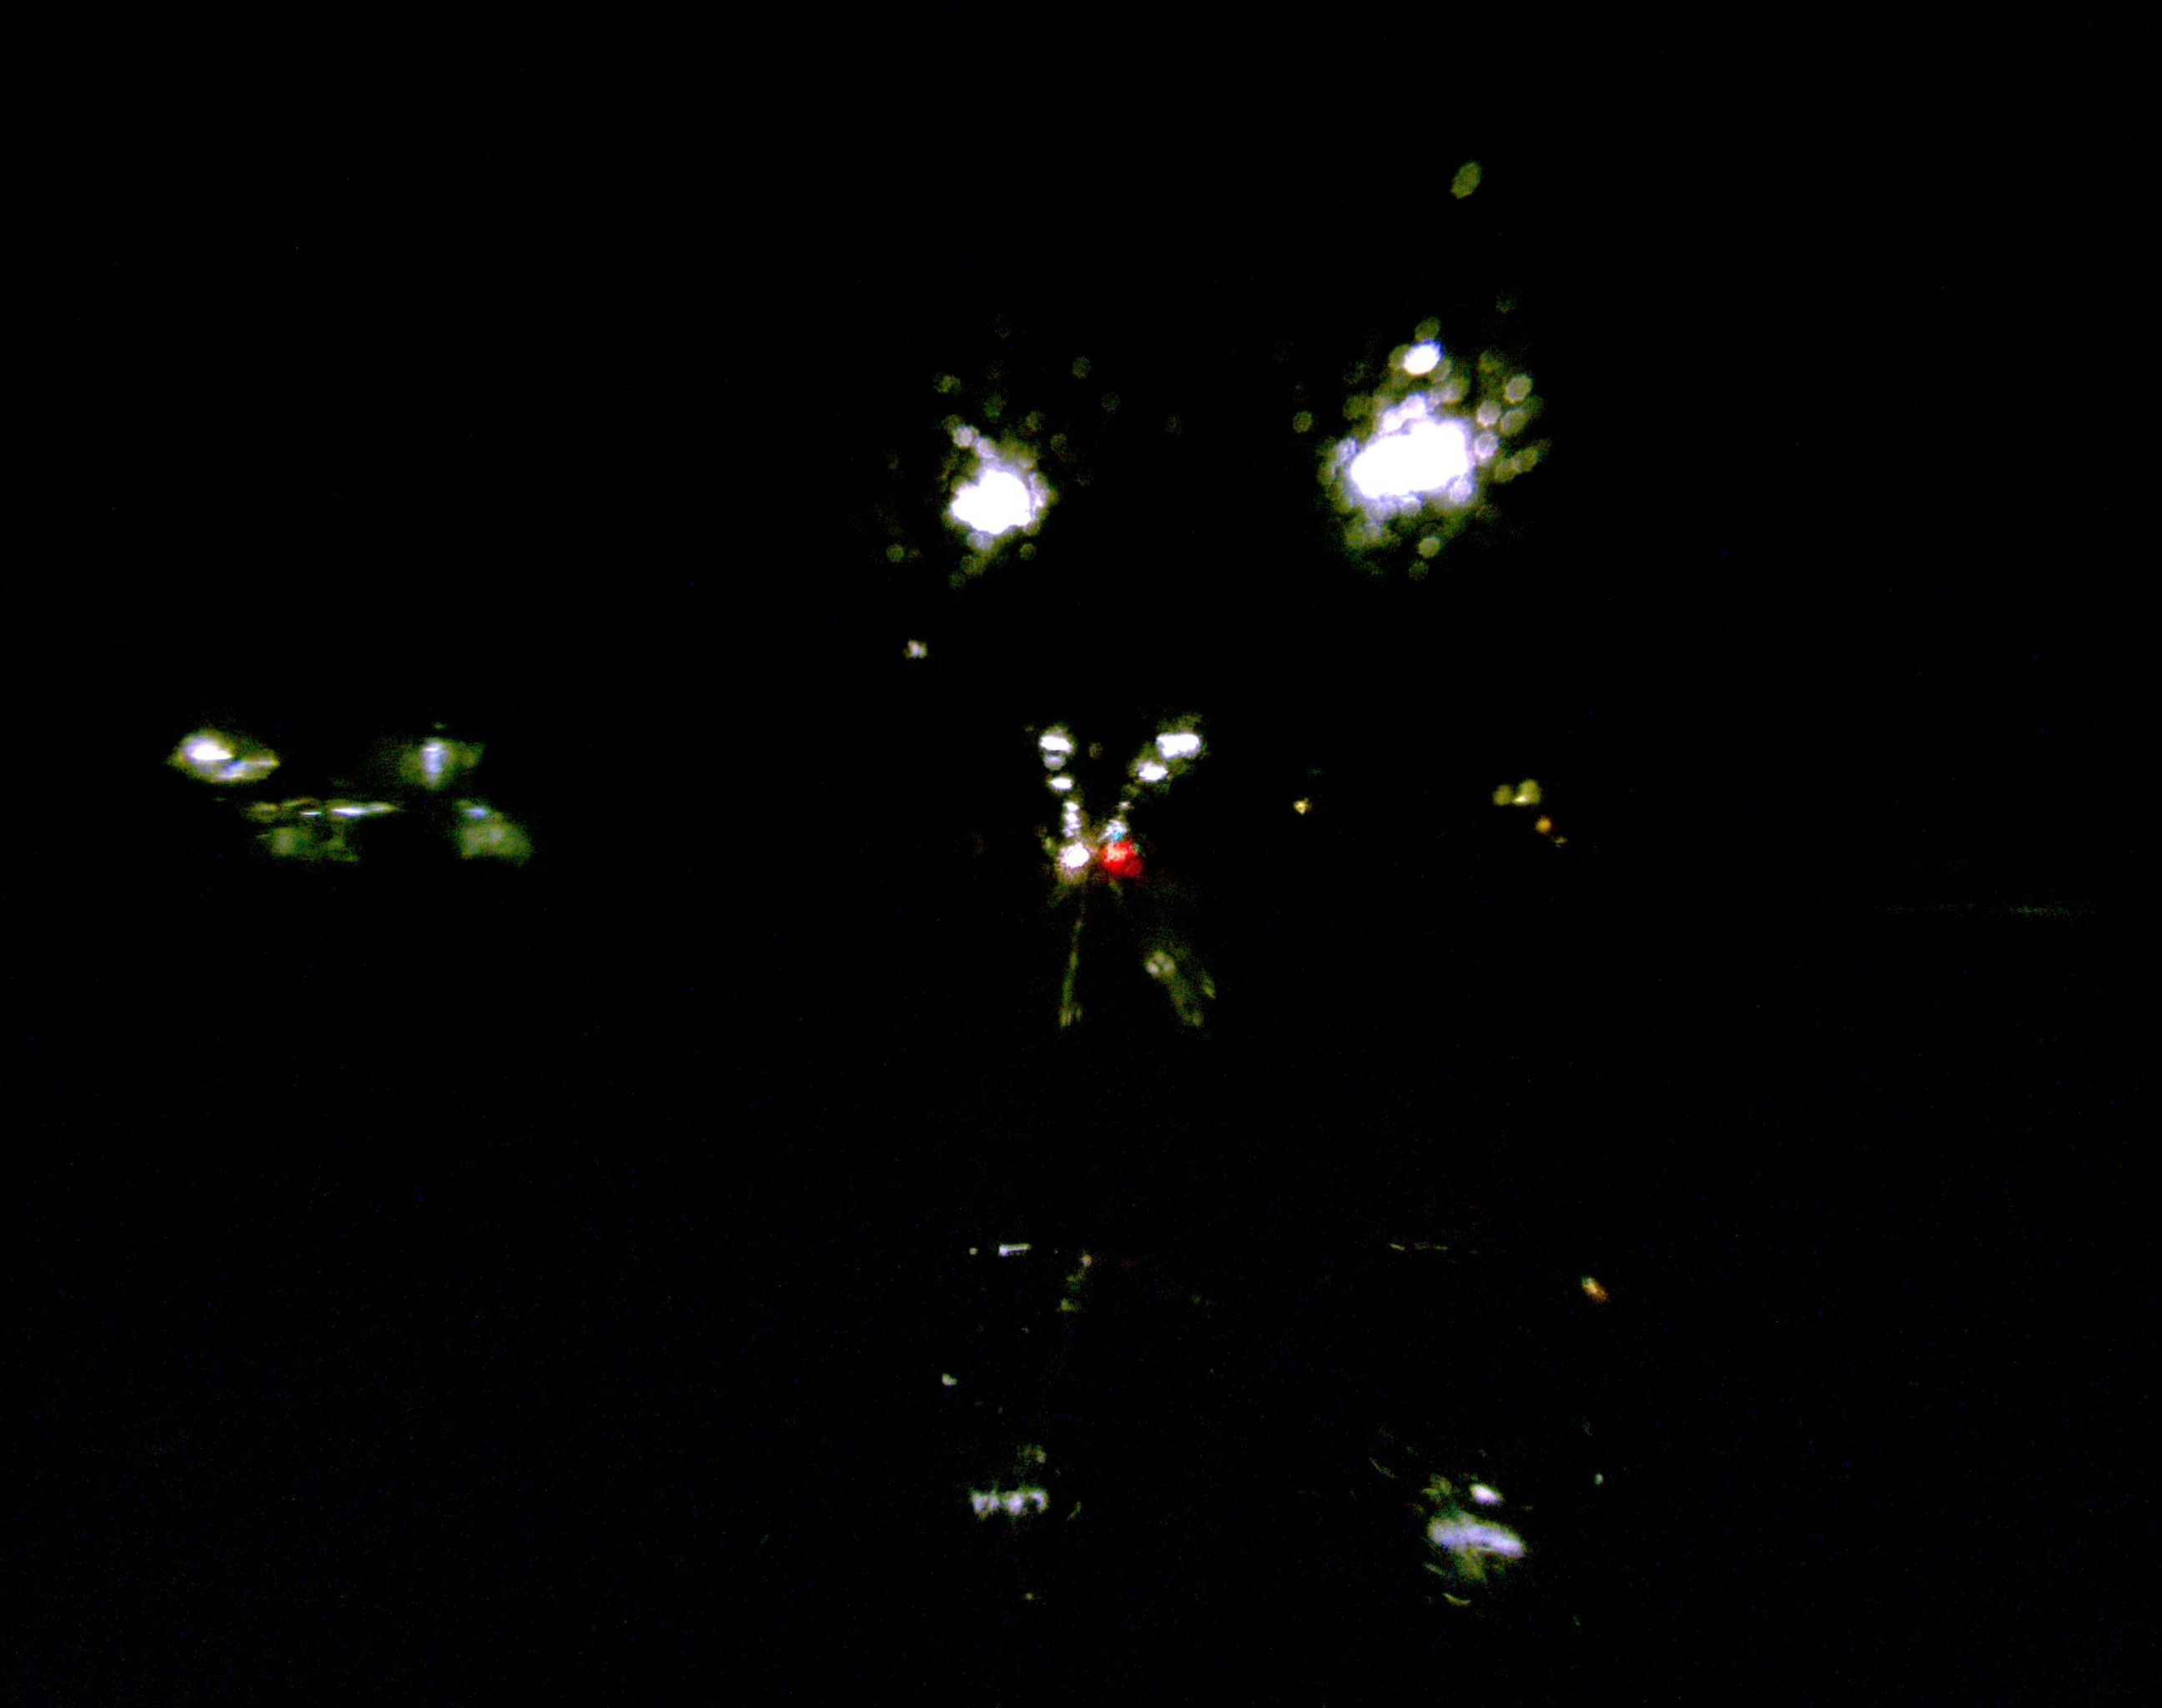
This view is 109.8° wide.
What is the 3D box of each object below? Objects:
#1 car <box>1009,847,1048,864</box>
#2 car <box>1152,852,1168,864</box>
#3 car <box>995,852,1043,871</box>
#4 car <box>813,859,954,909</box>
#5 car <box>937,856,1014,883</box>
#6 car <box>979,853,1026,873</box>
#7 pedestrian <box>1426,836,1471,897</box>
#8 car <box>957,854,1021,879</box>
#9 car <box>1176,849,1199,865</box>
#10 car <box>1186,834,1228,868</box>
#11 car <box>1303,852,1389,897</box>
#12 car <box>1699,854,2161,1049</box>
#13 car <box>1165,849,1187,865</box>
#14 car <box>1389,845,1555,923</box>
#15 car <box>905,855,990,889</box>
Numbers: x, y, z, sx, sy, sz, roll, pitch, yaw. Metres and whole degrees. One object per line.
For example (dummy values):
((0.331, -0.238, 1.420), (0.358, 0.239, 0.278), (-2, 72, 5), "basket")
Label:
((-5.842, 0.205, 84.373), (3.965, 1.760, 1.666), (-2, 1, -36), "car")
((10.723, 0.500, 103.273), (1.693, 1.566, 3.918), (-2, 1, 1), "car")
((-5.625, 0.644, 68.800), (4.021, 1.519, 1.796), (-2, 1, -41), "car")
((-6.704, 0.963, 26.059), (4.349, 1.459, 1.677), (-1, 1, -38), "car")
((-6.259, 0.873, 45.336), (4.264, 1.409, 1.780), (-2, 1, -41), "car")
((-6.664, 0.731, 64.720), (1.712, 1.519, 3.675), (-1, 1, 45), "car")
((11.711, 0.382, 24.236), (0.794, 1.890, 1.290), (-2, 1, 1), "pedestrian")
((-6.233, 0.849, 51.756), (1.658, 1.473, 4.194), (-3, 0, 42), "car")
((10.245, 0.254, 73.360), (1.720, 1.399, 3.389), (-3, 1, 0), "car")
((10.058, -0.288, 61.148), (2.248, 2.494, 5.258), (-4, 1, -2), "car")
((9.535, 0.695, 27.674), (1.723, 1.447, 3.950), (-2, 1, 0), "car")
((9.362, 0.765, 8.155), (1.735, 1.430, 4.625), (-2, 1, 1), "car")
((10.254, 0.308, 82.023), (1.846, 1.573, 3.663), (-3, 1, 0), "car")
((9.418, 0.656, 18.769), (1.814, 1.569, 4.353), (-4, 0, 1), "car")
((-6.704, 0.864, 38.362), (1.707, 1.503, 3.914), (-1, 1, 44), "car")
